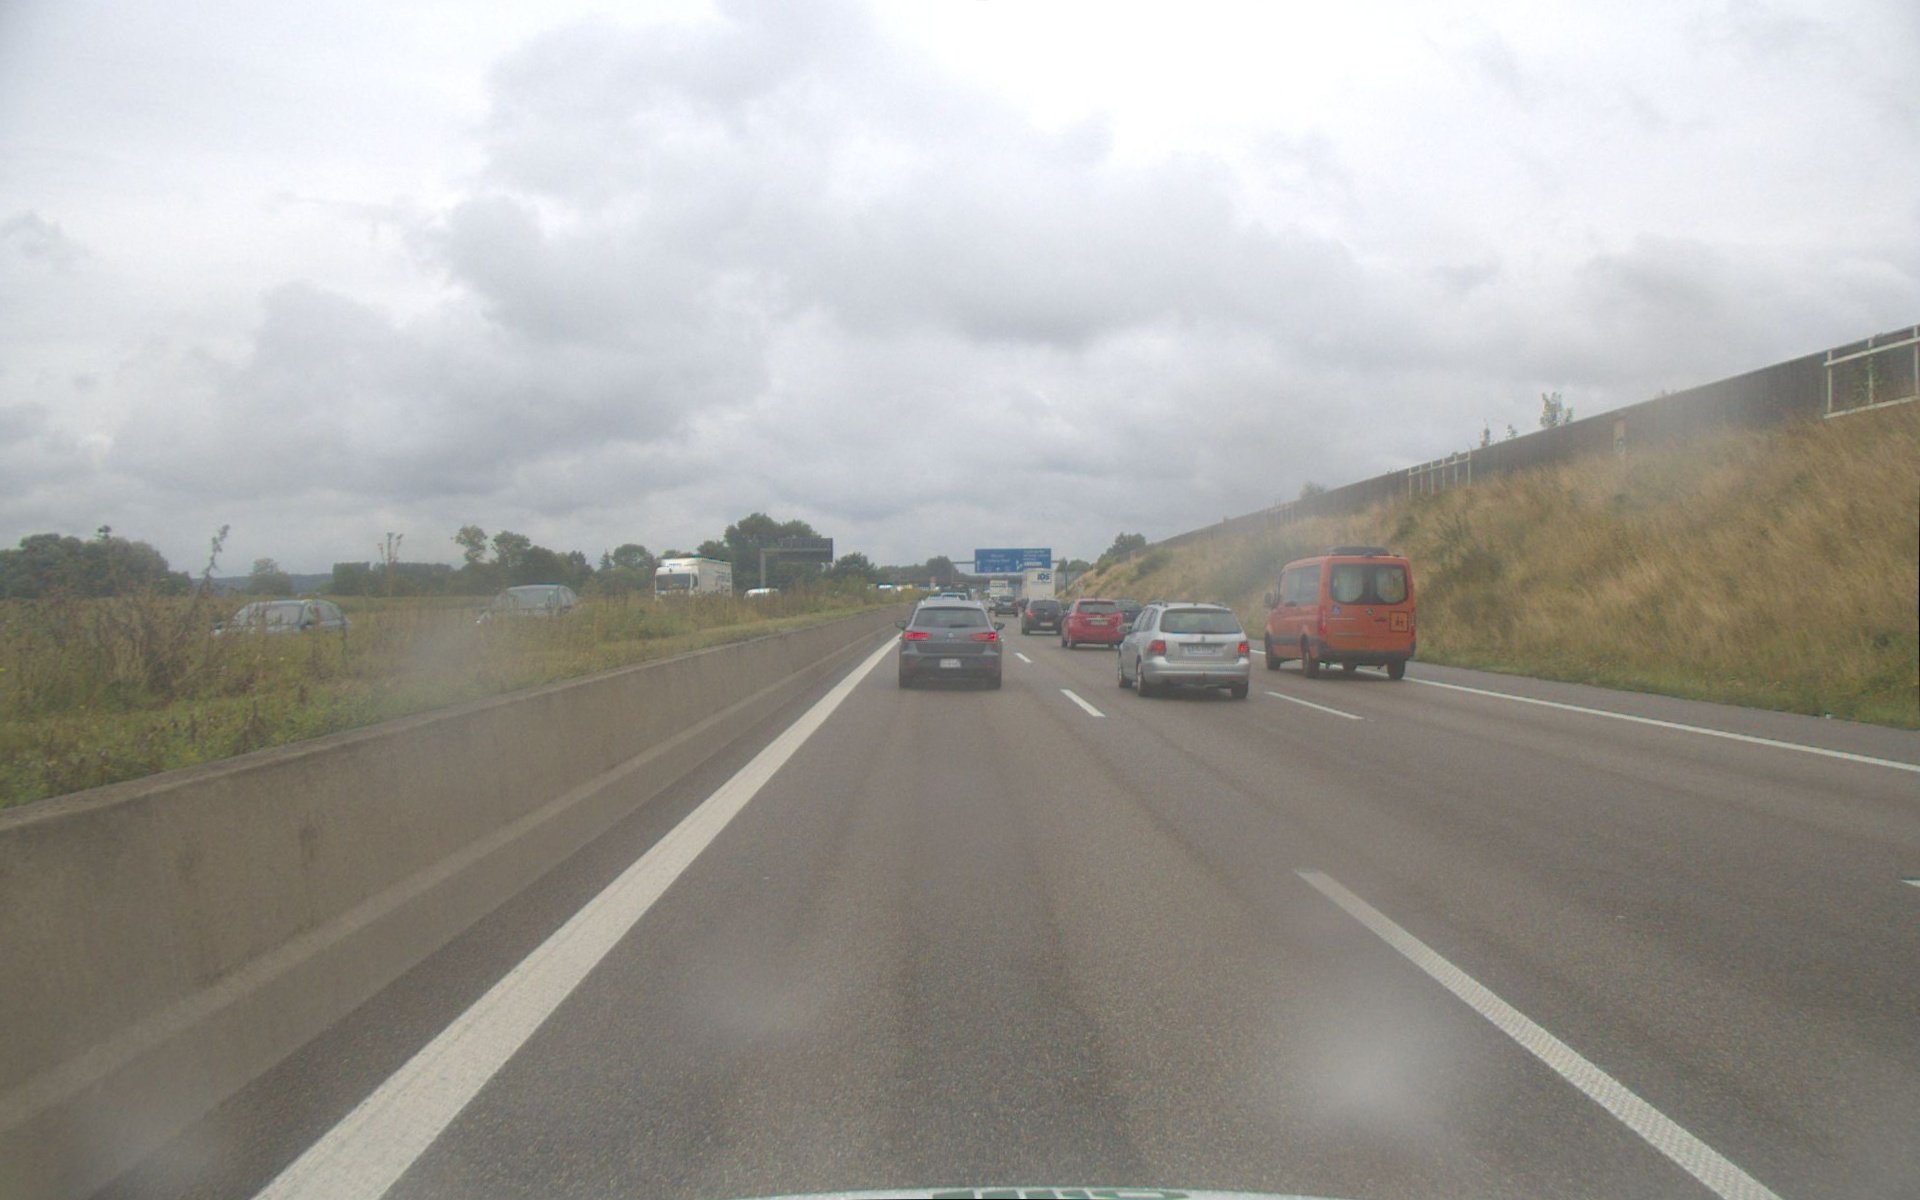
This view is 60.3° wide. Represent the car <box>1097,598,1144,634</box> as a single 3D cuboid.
[{"bbox_3d":[6.693,0.661,69.220,1.667,1.426,3.876,1,0,1],"label":"car"}]

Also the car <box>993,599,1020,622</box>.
[{"bbox_3d":[3.523,0.799,124.935,1.808,1.716,3.999,1,0,-1],"label":"car"}]

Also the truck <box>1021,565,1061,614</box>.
[{"bbox_3d":[7.713,-0.905,159.765,3.216,4.370,19.034,1,0,1],"label":"truck"}]

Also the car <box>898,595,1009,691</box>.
[{"bbox_3d":[-0.093,0.691,28.160,1.732,1.493,4.000,1,0,0],"label":"car"}]

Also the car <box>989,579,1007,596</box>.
[{"bbox_3d":[4.546,-1.459,198.701,1.953,2.049,3.999,-1,0,-1],"label":"car"}]

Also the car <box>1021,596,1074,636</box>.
[{"bbox_3d":[3.564,0.631,67.716,1.882,1.548,4.621,0,0,-1],"label":"car"}]

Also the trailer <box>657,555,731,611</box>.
[{"bbox_3d":[-17.689,-1.037,110.928,2.855,3.488,13.240,1,0,0],"label":"trailer"}]

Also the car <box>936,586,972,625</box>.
[{"bbox_3d":[-0.267,0.256,80.879,1.670,1.828,3.855,-2,0,0],"label":"car"}]

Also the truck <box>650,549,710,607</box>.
[{"bbox_3d":[-17.624,-1.325,104.426,2.909,3.488,5.626,1,0,-1],"label":"truck"}]

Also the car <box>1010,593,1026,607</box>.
[{"bbox_3d":[7.774,-0.050,222.767,1.953,1.892,4.390,0,0,-1],"label":"car"}]

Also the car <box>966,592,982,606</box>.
[{"bbox_3d":[1.784,-0.118,214.041,1.953,1.845,4.596,0,0,-1],"label":"car"}]

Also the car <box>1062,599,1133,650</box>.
[{"bbox_3d":[4.134,0.712,50.343,1.852,1.472,4.685,0,0,1],"label":"car"}]

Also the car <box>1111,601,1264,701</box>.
[{"bbox_3d":[3.608,0.762,26.973,1.707,1.450,4.515,-1,0,-2],"label":"car"}]

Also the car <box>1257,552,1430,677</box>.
[{"bbox_3d":[7.793,0.259,34.325,2.043,2.355,6.180,0,0,-1],"label":"car"}]

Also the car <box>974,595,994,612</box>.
[{"bbox_3d":[2.249,0.349,155.110,1.716,1.544,3.999,0,0,-1],"label":"car"}]

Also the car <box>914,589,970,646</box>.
[{"bbox_3d":[-0.563,0.569,54.656,1.718,1.780,4.000,1,0,1],"label":"car"}]
